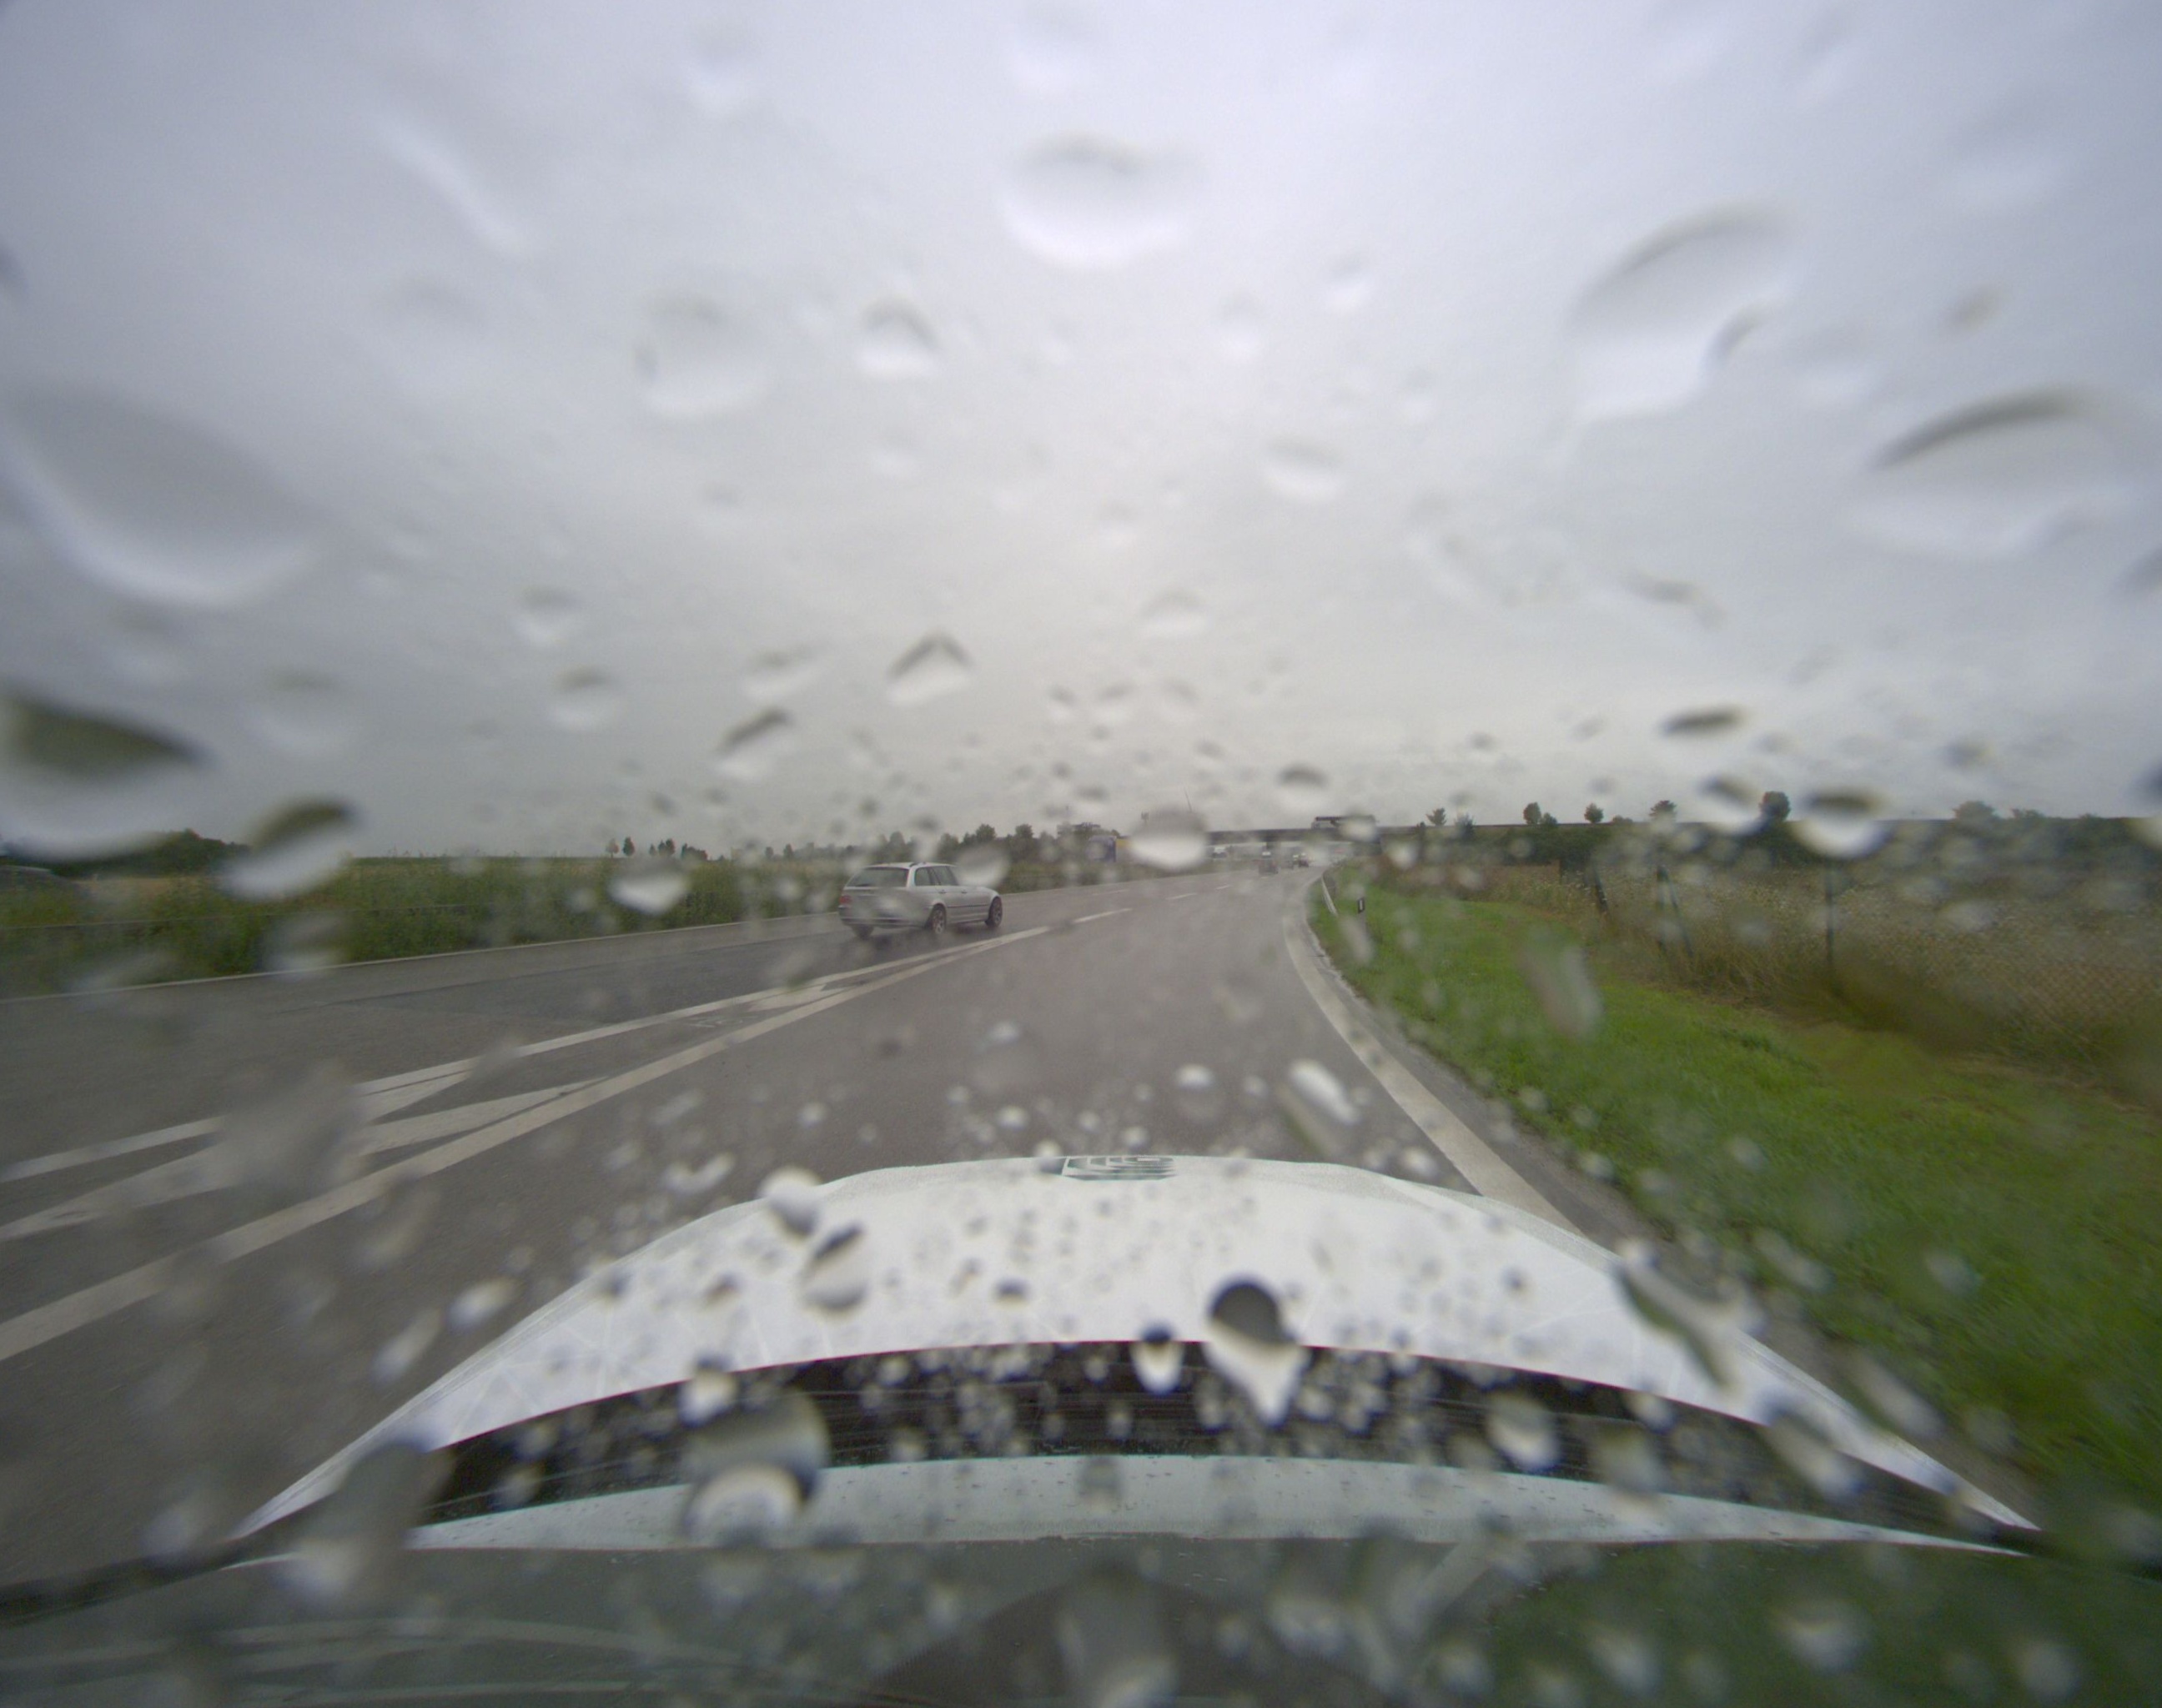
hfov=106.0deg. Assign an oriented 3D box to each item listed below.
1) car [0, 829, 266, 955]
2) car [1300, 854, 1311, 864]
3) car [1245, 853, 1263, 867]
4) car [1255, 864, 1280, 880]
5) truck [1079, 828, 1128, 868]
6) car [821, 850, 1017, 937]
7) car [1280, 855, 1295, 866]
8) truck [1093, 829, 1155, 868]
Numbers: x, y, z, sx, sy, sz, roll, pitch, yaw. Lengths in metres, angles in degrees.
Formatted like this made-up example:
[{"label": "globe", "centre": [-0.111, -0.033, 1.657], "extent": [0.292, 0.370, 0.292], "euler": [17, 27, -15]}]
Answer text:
[{"label": "car", "centre": [-16.764, 0.557, 13.185], "extent": [2.088, 1.875, 4.551], "euler": [1, 0, 17]}, {"label": "car", "centre": [44.440, 1.009, 161.070], "extent": [1.978, 1.697, 4.019], "euler": [-3, 1, 18]}, {"label": "car", "centre": [24.723, 0.840, 116.381], "extent": [1.978, 1.749, 4.019], "euler": [-3, 1, 17]}, {"label": "car", "centre": [19.388, 1.839, 84.536], "extent": [2.128, 1.636, 4.615], "euler": [1, -1, 18]}, {"label": "truck", "centre": [2.437, -0.594, 85.040], "extent": [3.169, 3.966, 6.693], "euler": [2, 0, 18]}, {"label": "car", "centre": [-3.055, 0.721, 16.619], "extent": [1.859, 1.488, 4.816], "euler": [-1, -1, 17]}, {"label": "car", "centre": [31.443, 1.068, 123.918], "extent": [2.037, 1.636, 4.369], "euler": [0, -1, 18]}, {"label": "truck", "centre": [5.202, -0.527, 93.620], "extent": [3.169, 3.966, 15.388], "euler": [2, 0, 18]}]
